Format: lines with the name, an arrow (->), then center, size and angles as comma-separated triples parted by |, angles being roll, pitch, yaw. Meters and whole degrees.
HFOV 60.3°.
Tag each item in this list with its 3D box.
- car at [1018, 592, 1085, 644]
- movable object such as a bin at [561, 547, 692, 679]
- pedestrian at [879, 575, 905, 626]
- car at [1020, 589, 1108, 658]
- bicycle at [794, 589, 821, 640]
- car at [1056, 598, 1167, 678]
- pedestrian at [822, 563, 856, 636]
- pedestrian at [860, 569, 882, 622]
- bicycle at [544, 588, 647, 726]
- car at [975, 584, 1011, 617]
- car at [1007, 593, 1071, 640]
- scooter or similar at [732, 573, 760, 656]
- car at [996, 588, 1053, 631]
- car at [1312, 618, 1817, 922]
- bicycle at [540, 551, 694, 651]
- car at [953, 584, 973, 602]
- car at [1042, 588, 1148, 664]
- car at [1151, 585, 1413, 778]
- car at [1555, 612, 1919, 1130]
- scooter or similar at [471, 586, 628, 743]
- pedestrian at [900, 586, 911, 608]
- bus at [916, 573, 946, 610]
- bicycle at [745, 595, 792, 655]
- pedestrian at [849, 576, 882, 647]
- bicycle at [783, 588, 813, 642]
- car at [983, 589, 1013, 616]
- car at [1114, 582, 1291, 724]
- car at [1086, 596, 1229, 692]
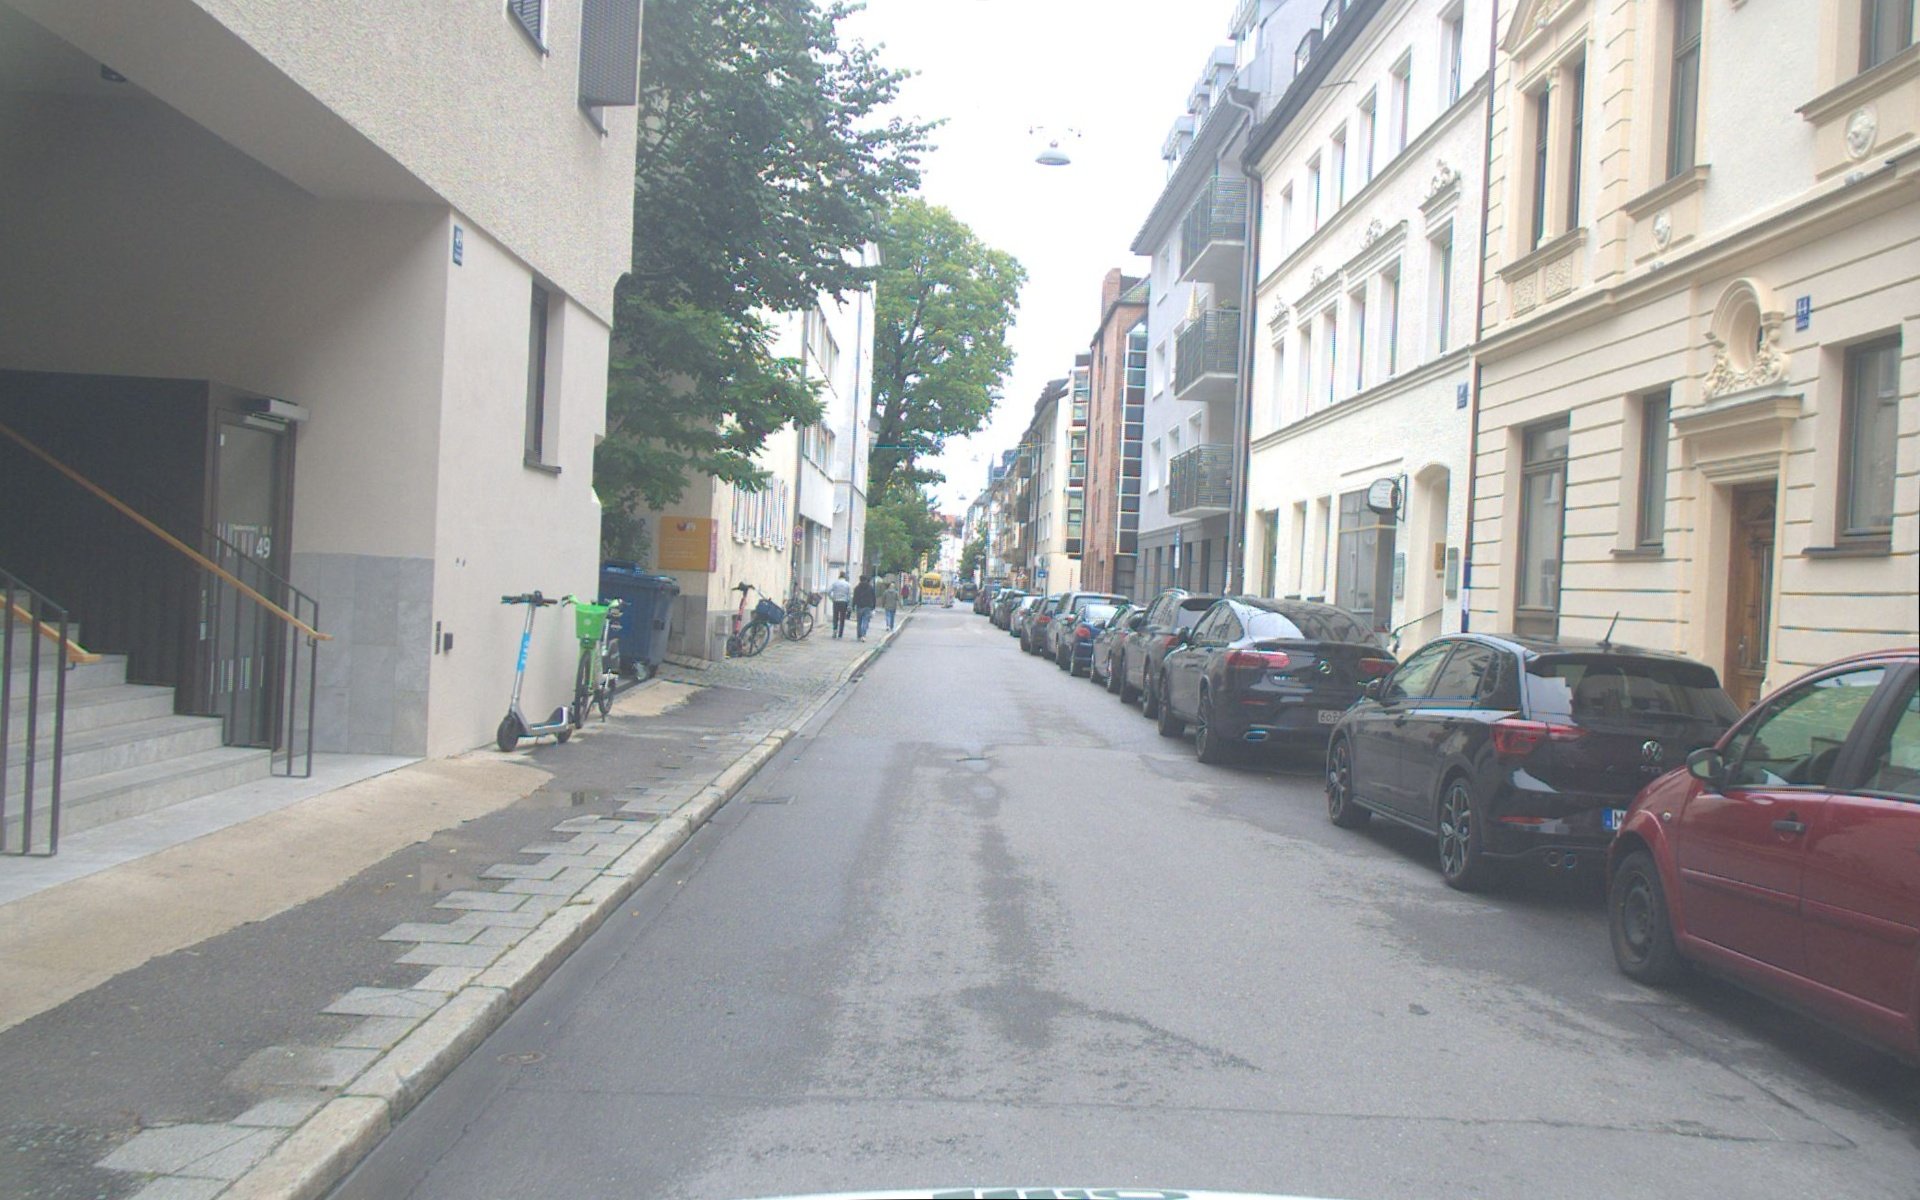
car -> 2.893, 0.540, 52.819 | 1.710, 1.487, 4.149 | 3, 0, -2
movable object such as a bin -> -4.194, 0.144, 20.915 | 1.150, 1.466, 1.249 | 8, 2, 5
pedestrian -> -2.333, 0.029, 56.971 | 0.738, 1.687, 0.906 | 5, 0, -1
car -> 2.607, 0.559, 42.396 | 1.803, 1.555, 4.291 | 3, 0, -2
bicycle -> -3.731, 0.348, 40.419 | 0.551, 1.179, 1.718 | 3, 0, -7
car -> 2.927, 0.697, 32.596 | 1.771, 1.387, 3.945 | 2, 0, 0
pedestrian -> -3.165, -0.012, 43.303 | 0.704, 1.827, 0.916 | 4, 0, -1
pedestrian -> -3.064, -0.151, 56.994 | 0.600, 1.743, 0.823 | 5, 0, -1
bicycle -> -3.384, 0.496, 15.500 | 0.533, 1.181, 1.881 | 4, 0, -2
car -> 2.044, 0.018, 103.737 | 1.766, 1.851, 3.998 | 6, 0, -3
car -> 2.706, 0.546, 57.415 | 1.800, 1.442, 4.599 | 3, 0, -2
scooter or similar -> -3.724, 0.244, 28.828 | 0.311, 1.399, 1.239 | 2, 0, -1
car -> 2.581, 0.352, 67.261 | 1.848, 1.582, 4.389 | 3, 0, -3
car -> 3.581, 0.908, 10.633 | 1.642, 1.417, 4.065 | 3, 0, -1
bicycle -> -5.240, 0.015, 25.339 | 2.156, 1.321, 0.514 | 5, 0, -2
car -> 0.317, -0.763, 181.565 | 1.766, 1.741, 3.825 | 6, 0, -3
car -> 2.989, 0.543, 37.517 | 1.838, 1.598, 4.314 | 1, 0, -3
car -> 3.158, 0.711, 17.171 | 1.667, 1.635, 4.684 | 3, 0, -1
car -> 3.743, 0.879, 6.028 | 1.642, 1.518, 3.853 | 3, 0, -1
scooter or similar -> -3.309, 0.511, 13.436 | 0.540, 1.163, 1.359 | 5, 0, 16
pedestrian -> -3.839, -0.203, 116.455 | 0.740, 1.517, 0.831 | 2, 0, -1
bus -> -2.615, -0.767, 149.328 | 2.540, 3.156, 6.305 | 2, 0, -1
bicycle -> -3.531, 0.443, 30.564 | 0.690, 1.001, 1.821 | 7, 0, -5
pedestrian -> -2.476, 0.292, 43.586 | 0.704, 1.796, 0.838 | 4, 0, -1
bicycle -> -3.784, 0.344, 38.702 | 0.449, 1.179, 1.605 | 5, 0, 0
car -> 2.261, 0.153, 99.312 | 1.592, 1.513, 3.808 | 3, 0, -1
car -> 3.240, 0.638, 22.922 | 1.642, 1.690, 4.512 | 3, 0, -1
car -> 3.253, 0.688, 28.065 | 1.763, 1.410, 4.348 | 2, 0, -1
